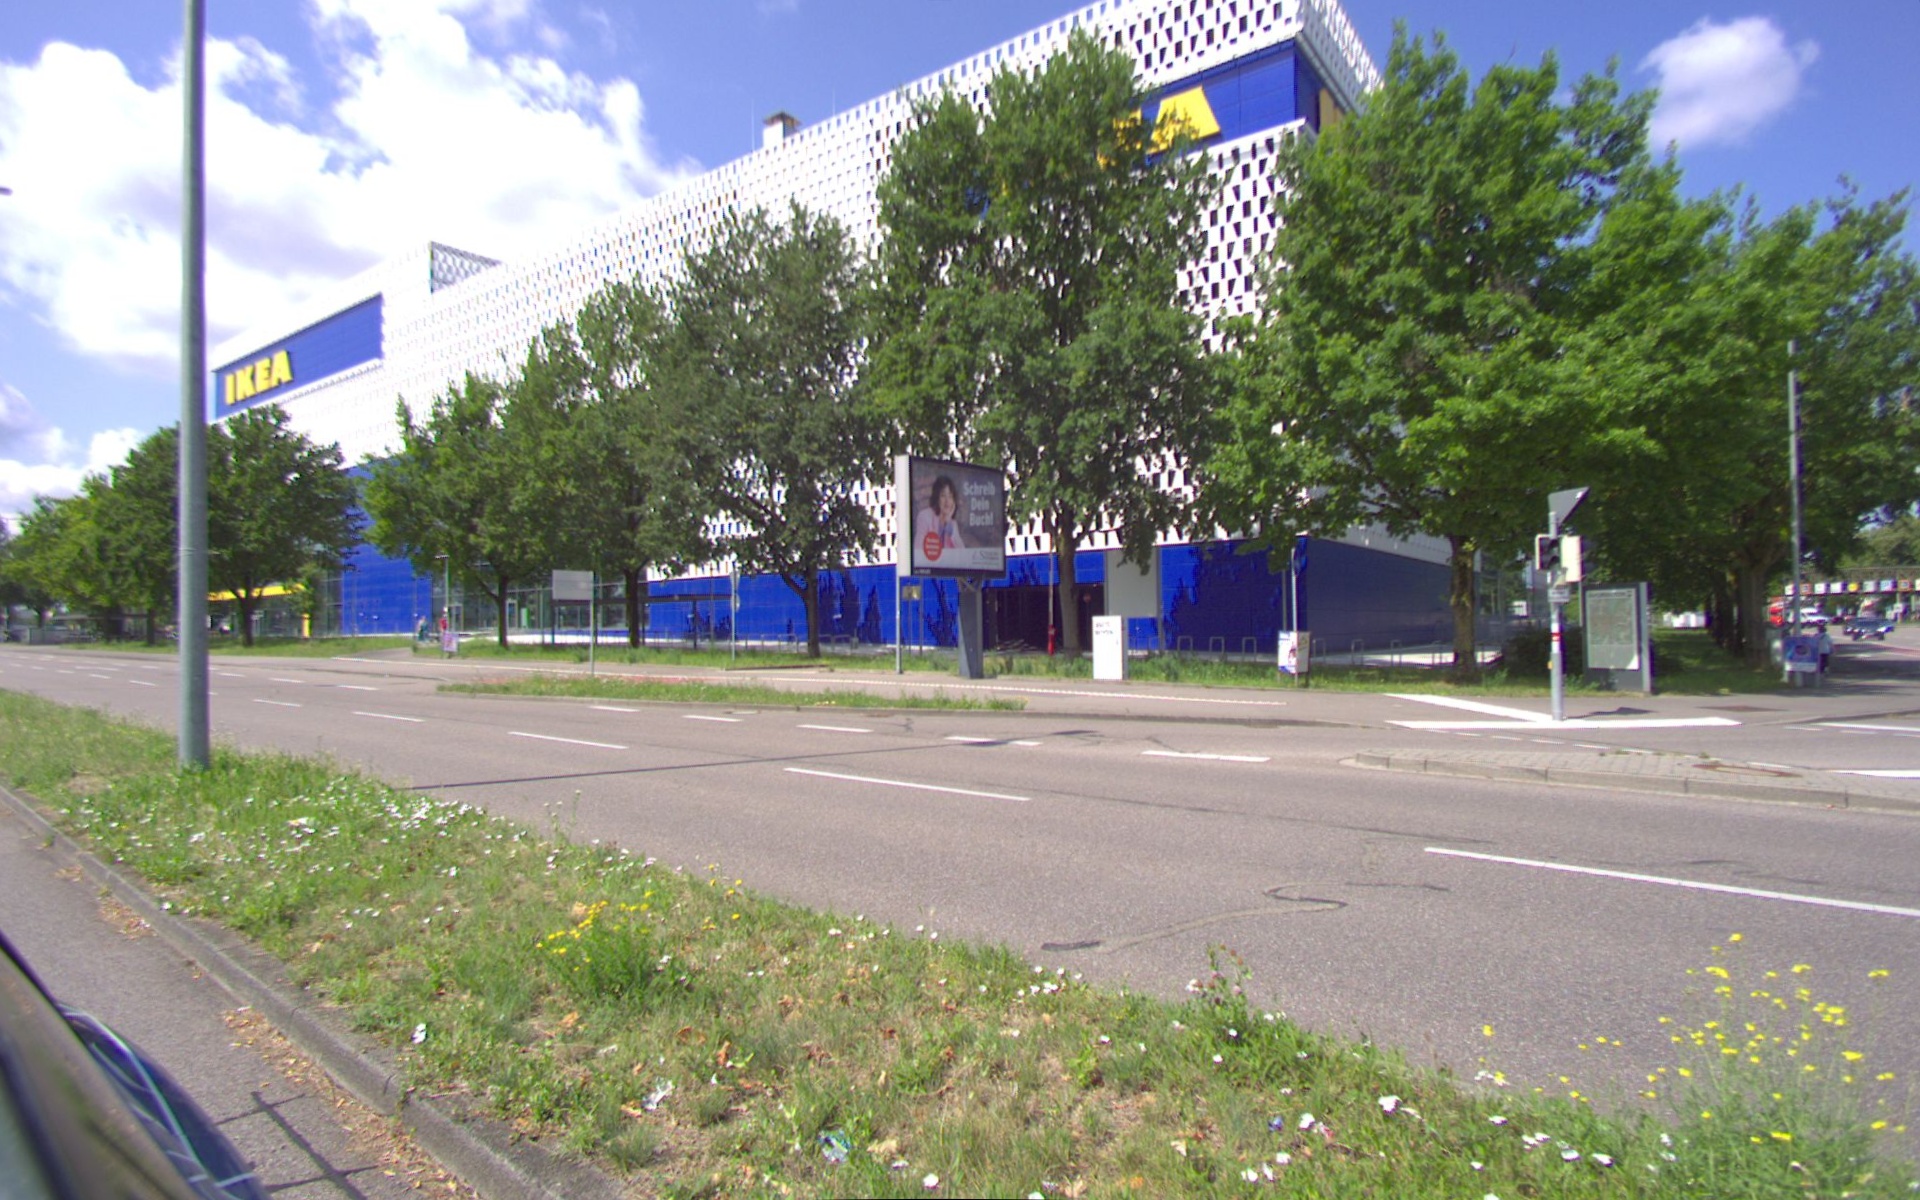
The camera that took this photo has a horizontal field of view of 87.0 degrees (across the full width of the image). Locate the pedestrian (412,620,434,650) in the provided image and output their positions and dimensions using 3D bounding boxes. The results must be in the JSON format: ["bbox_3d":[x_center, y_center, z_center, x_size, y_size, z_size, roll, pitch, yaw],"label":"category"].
[{"bbox_3d":[-32.406,2.091,61.094,1.165,1.741,0.842,-1,0,43],"label":"pedestrian"}]

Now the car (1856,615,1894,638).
[{"bbox_3d":[65.851,1.897,72.837,1.896,1.567,4.522,-3,-3,43],"label":"car"}]

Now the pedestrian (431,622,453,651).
[{"bbox_3d":[-31.699,2.224,61.910,1.165,1.741,0.842,-1,0,43],"label":"pedestrian"}]

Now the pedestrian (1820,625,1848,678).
[{"bbox_3d":[26.493,1.550,30.687,0.503,1.567,0.751,-3,-3,36],"label":"pedestrian"}]

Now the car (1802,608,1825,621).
[{"bbox_3d":[115.051,1.951,136.422,1.930,1.769,4.764,-2,-2,35],"label":"car"}]

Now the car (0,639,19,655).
[{"bbox_3d":[-105.442,5.180,111.685,3.998,1.696,1.916,-1,0,41],"label":"car"}]
